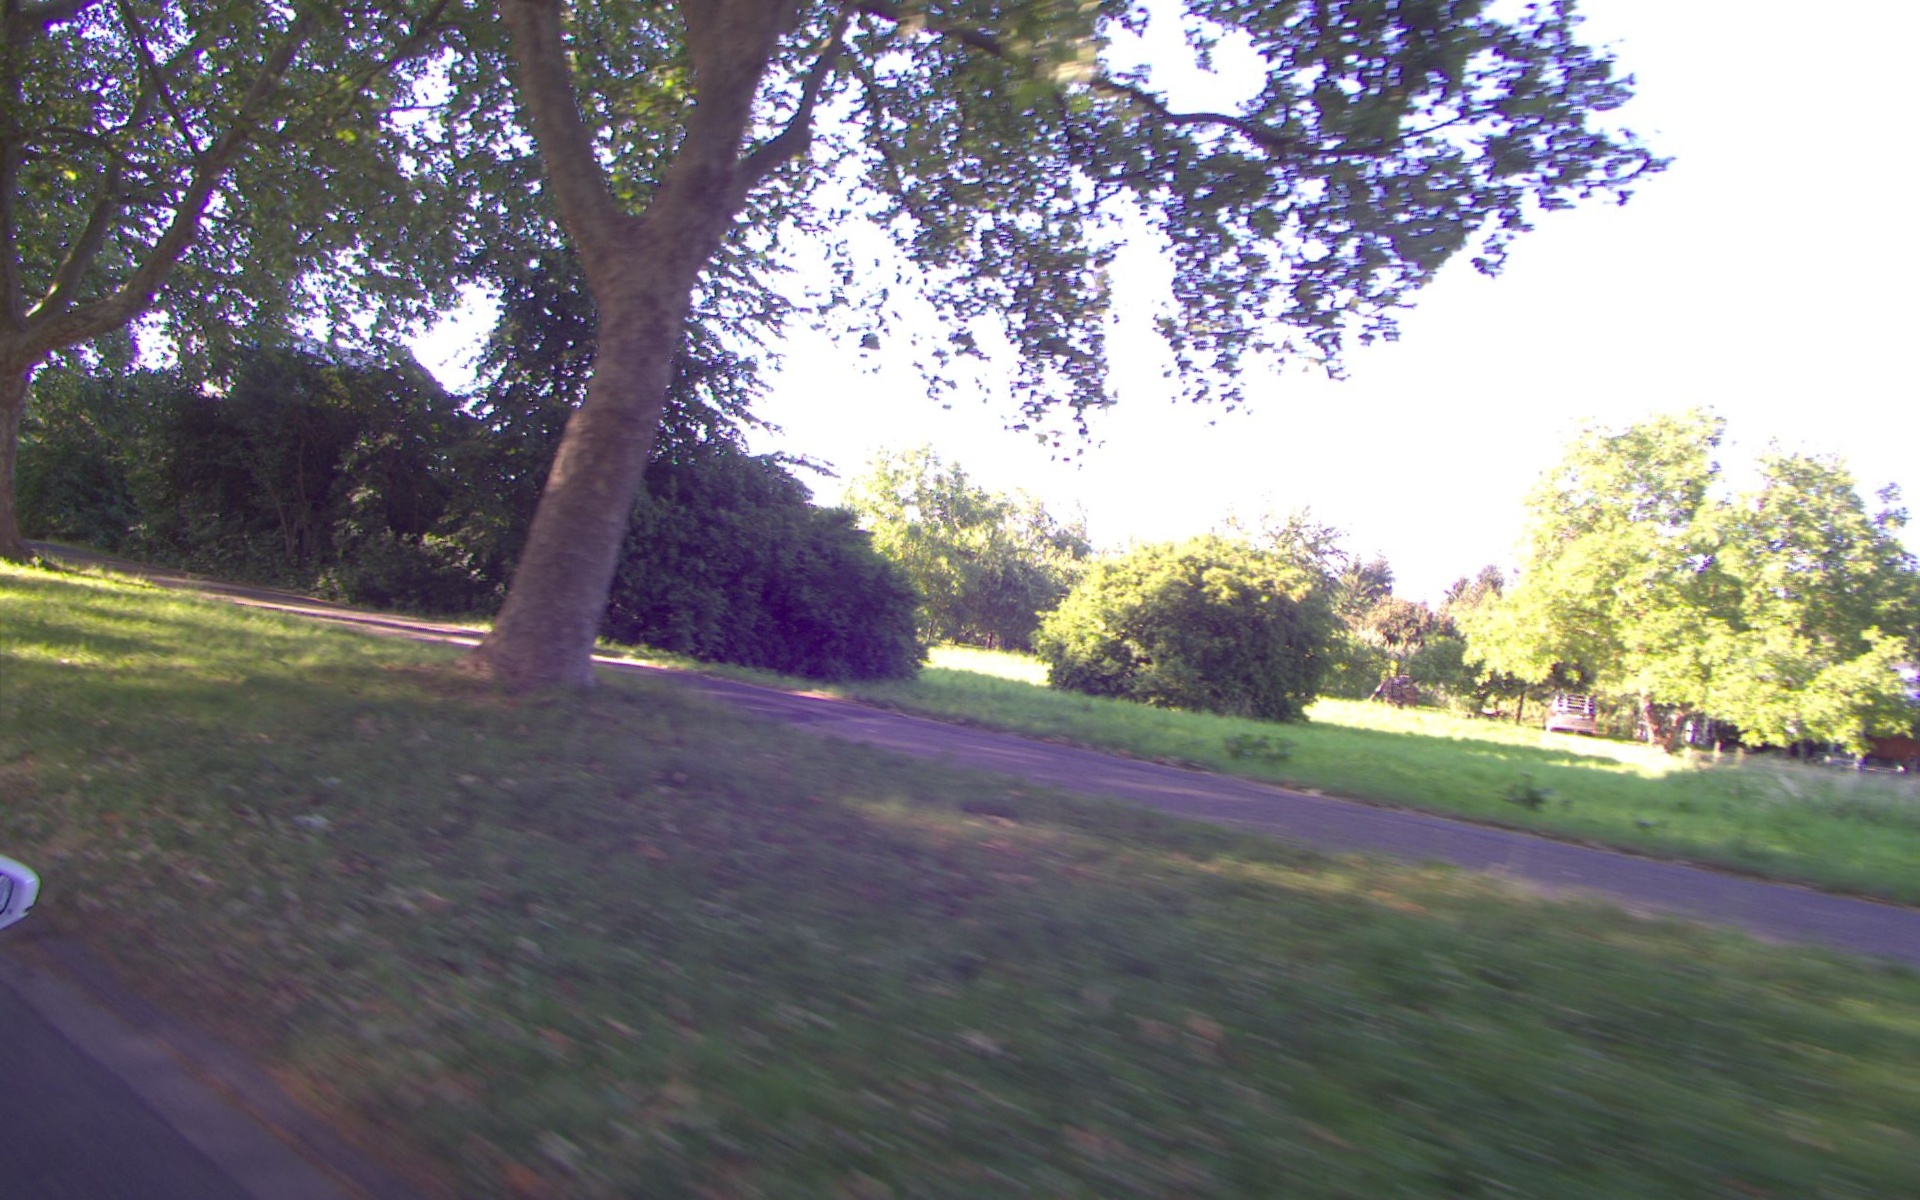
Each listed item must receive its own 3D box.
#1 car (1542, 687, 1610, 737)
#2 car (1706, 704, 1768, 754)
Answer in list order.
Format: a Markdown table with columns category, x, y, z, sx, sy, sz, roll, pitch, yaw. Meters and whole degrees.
| category | x | y | z | sx | sy | sz | roll | pitch | yaw |
| --- | --- | --- | --- | --- | --- | --- | --- | --- | --- |
| car | 28.787 | 5.261 | 46.966 | 1.908 | 1.969 | 3.983 | 4 | -3 | 41 |
| car | 36.832 | 6.115 | 47.631 | 1.973 | 2.036 | 3.983 | 4 | -3 | 41 |
